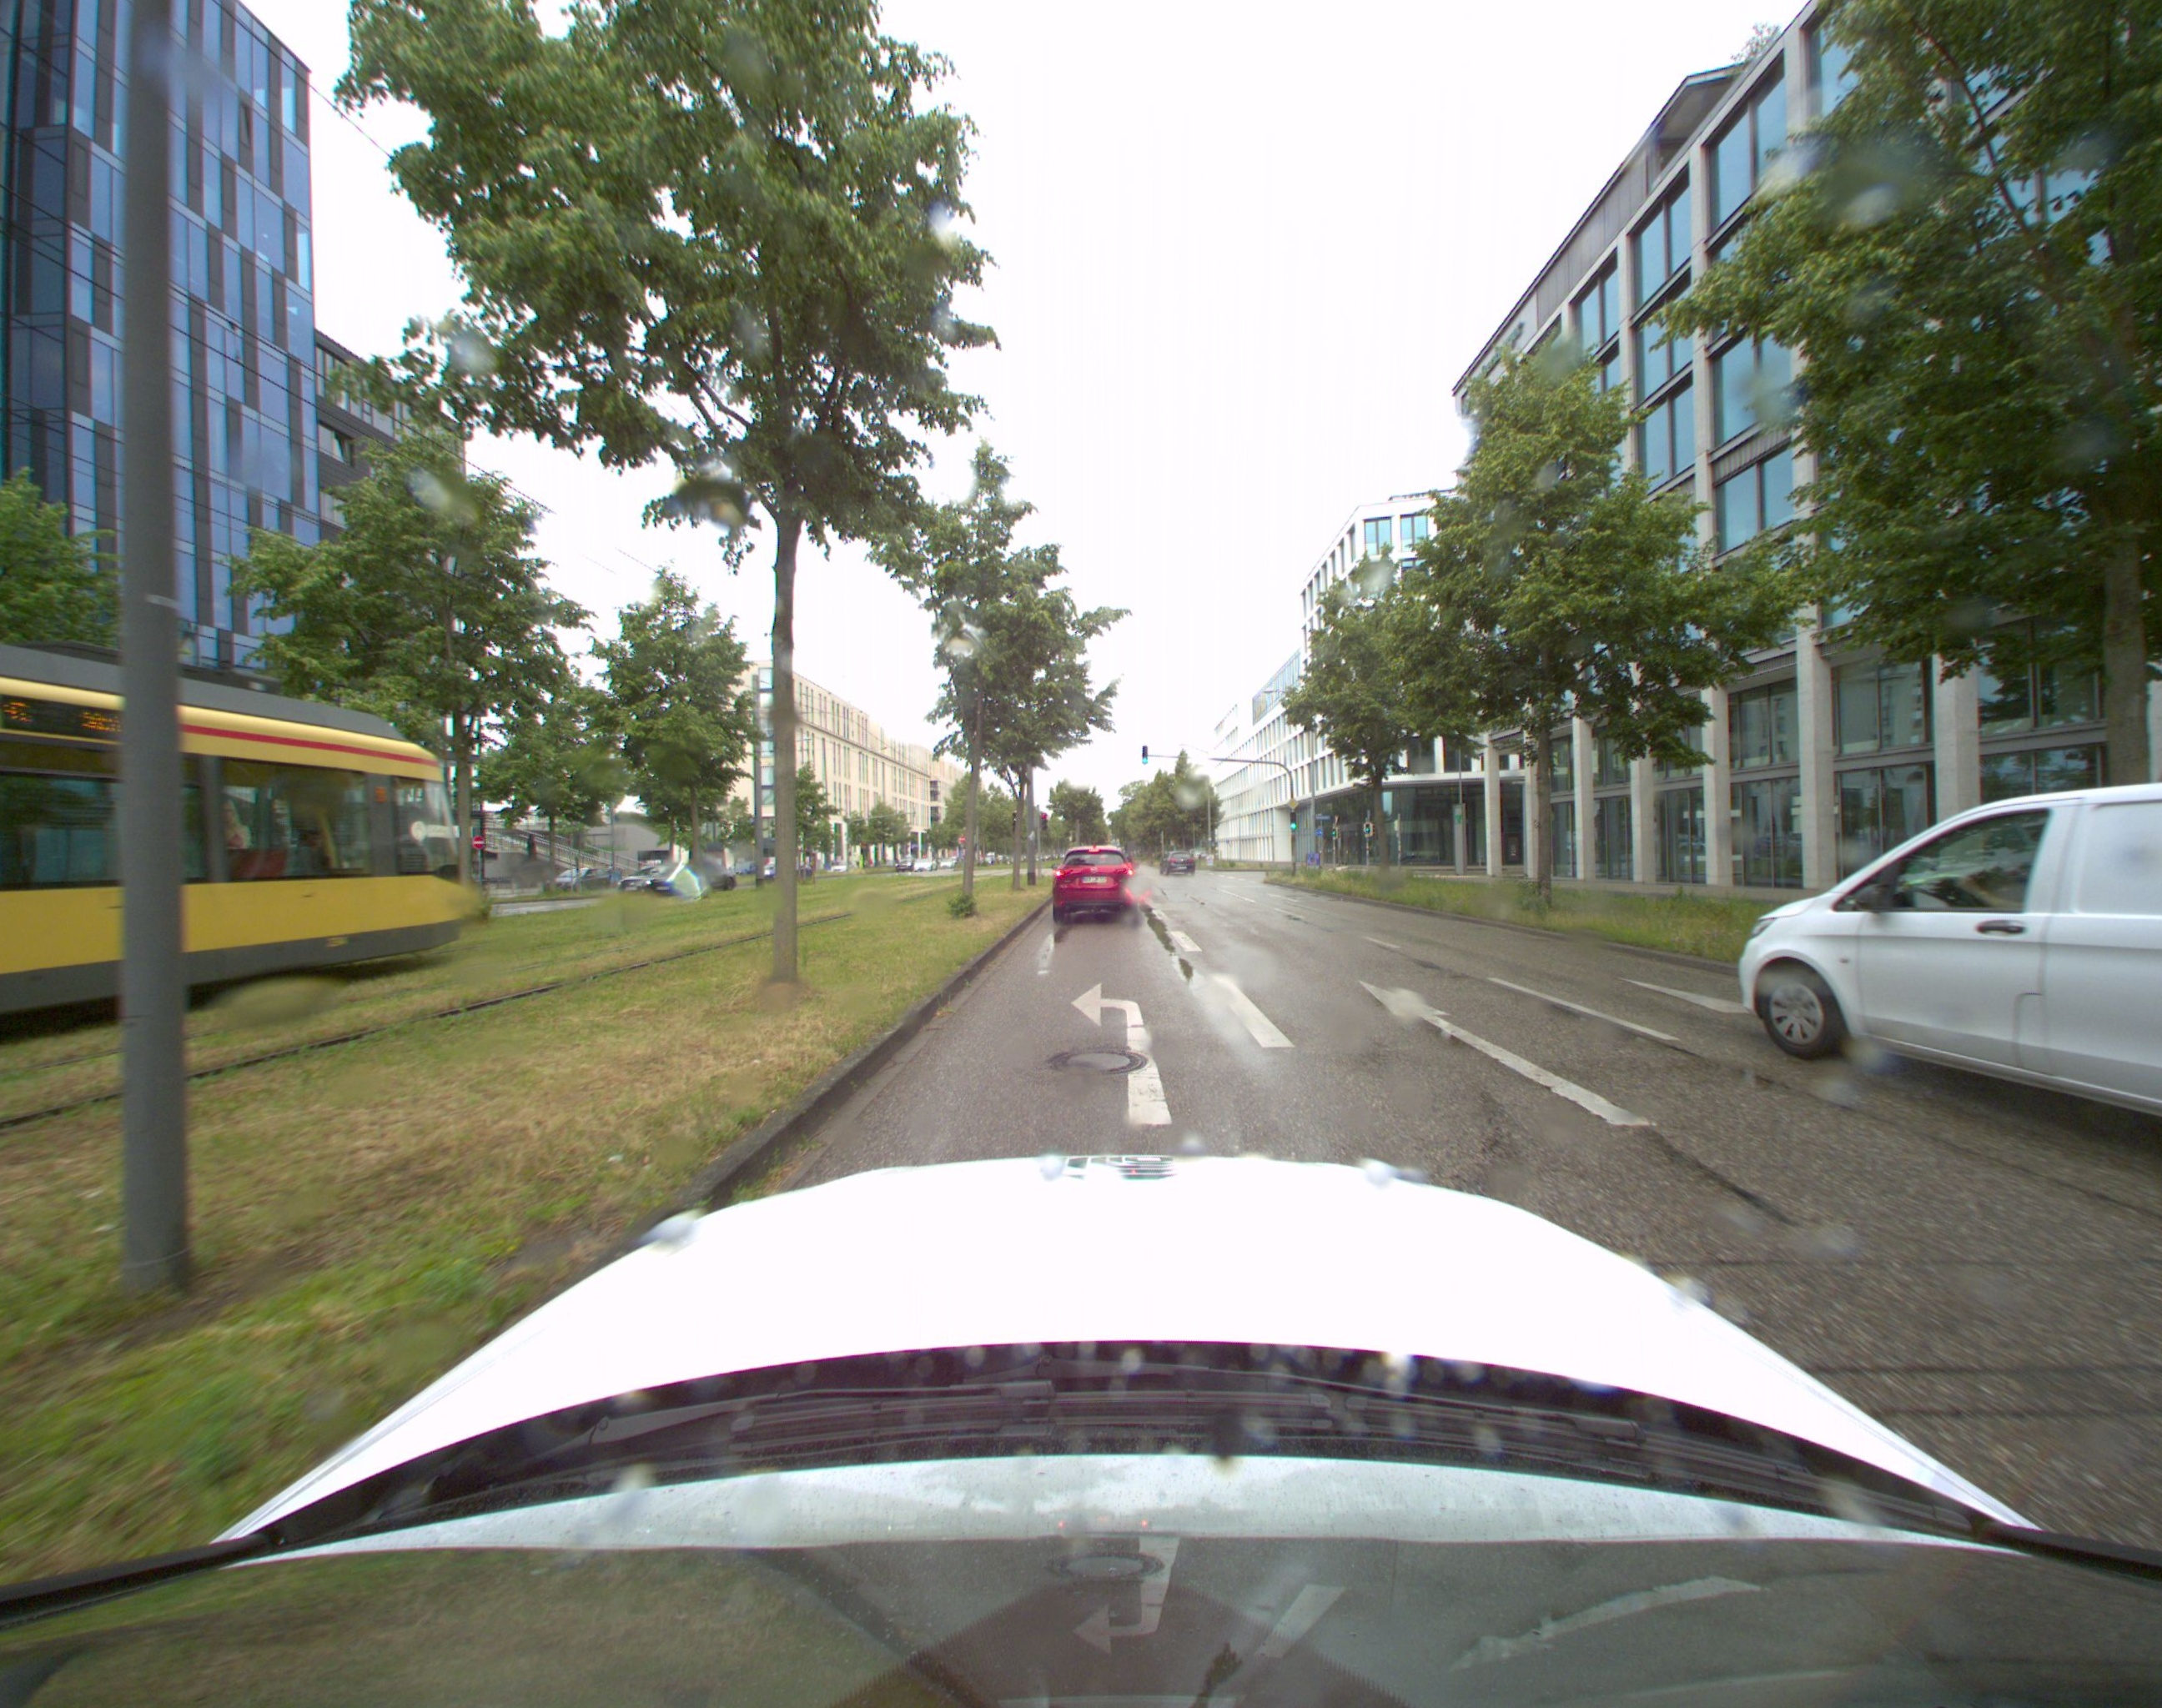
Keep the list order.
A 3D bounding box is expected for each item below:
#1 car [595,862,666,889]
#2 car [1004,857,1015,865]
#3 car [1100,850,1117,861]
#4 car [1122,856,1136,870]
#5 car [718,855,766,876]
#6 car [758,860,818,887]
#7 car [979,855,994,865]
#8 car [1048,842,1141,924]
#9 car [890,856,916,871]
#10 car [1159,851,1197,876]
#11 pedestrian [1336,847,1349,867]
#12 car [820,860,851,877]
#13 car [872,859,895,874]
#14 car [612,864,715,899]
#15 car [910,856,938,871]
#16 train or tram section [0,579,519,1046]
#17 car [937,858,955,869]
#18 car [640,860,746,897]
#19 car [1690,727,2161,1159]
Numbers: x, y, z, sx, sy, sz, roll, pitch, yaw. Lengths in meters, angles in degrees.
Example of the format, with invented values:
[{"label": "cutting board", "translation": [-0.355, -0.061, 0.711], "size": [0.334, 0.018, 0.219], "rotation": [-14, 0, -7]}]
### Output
[{"label": "car", "translation": [-27.409, 1.287, 49.766], "size": [1.989, 1.484, 4.441], "rotation": [-1, 0, -2]}, {"label": "car", "translation": [-15.266, 1.471, 174.046], "size": [1.986, 1.484, 4.446], "rotation": [-1, 0, 1]}, {"label": "car", "translation": [3.556, 0.180, 107.086], "size": [1.962, 1.437, 4.548], "rotation": [0, 0, -2]}, {"label": "car", "translation": [7.249, 1.303, 124.415], "size": [1.986, 2.013, 4.002], "rotation": [-1, 0, 2]}, {"label": "car", "translation": [-26.551, 0.879, 63.882], "size": [1.988, 1.484, 4.442], "rotation": [-1, 0, -2]}, {"label": "car", "translation": [-18.731, 1.218, 52.297], "size": [1.987, 1.521, 5.011], "rotation": [-1, 0, 1]}, {"label": "car", "translation": [-15.788, 0.982, 135.880], "size": [1.987, 1.484, 4.444], "rotation": [-1, 0, 0]}, {"label": "car", "translation": [0.324, 0.600, 18.846], "size": [1.891, 1.677, 4.001], "rotation": [-1, 0, 1]}, {"label": "car", "translation": [-20.296, 1.049, 92.884], "size": [1.987, 1.618, 4.000], "rotation": [-1, 0, 0]}, {"label": "car", "translation": [5.895, 0.567, 49.862], "size": [1.739, 1.465, 3.777], "rotation": [-1, 0, -3]}, {"label": "pedestrian", "translation": [22.262, 0.236, 69.244], "size": [0.682, 1.707, 0.776], "rotation": [-1, 0, -31]}, {"label": "car", "translation": [-25.715, 1.484, 85.287], "size": [1.987, 1.618, 4.000], "rotation": [-1, 0, 0]}, {"label": "car", "translation": [-25.639, 1.559, 105.782], "size": [1.986, 1.838, 4.001], "rotation": [-1, 0, 1]}, {"label": "car", "translation": [-18.434, 1.177, 36.266], "size": [1.986, 1.380, 4.874], "rotation": [-1, 0, 1]}, {"label": "car", "translation": [-16.855, 1.002, 87.723], "size": [1.986, 1.484, 4.447], "rotation": [-1, 0, 1]}, {"label": "train or tram section", "translation": [-10.065, -0.300, 4.450], "size": [3.117, 3.659, 15.070], "rotation": [-1, 0, 2]}, {"label": "car", "translation": [-19.274, 1.282, 116.281], "size": [1.988, 1.484, 4.442], "rotation": [-1, 0, -2]}, {"label": "car", "translation": [-15.964, 0.978, 33.837], "size": [1.986, 1.380, 4.874], "rotation": [-1, 0, 1]}, {"label": "car", "translation": [5.928, 0.402, 4.124], "size": [1.960, 1.979, 5.093], "rotation": [-1, -1, 1]}]
